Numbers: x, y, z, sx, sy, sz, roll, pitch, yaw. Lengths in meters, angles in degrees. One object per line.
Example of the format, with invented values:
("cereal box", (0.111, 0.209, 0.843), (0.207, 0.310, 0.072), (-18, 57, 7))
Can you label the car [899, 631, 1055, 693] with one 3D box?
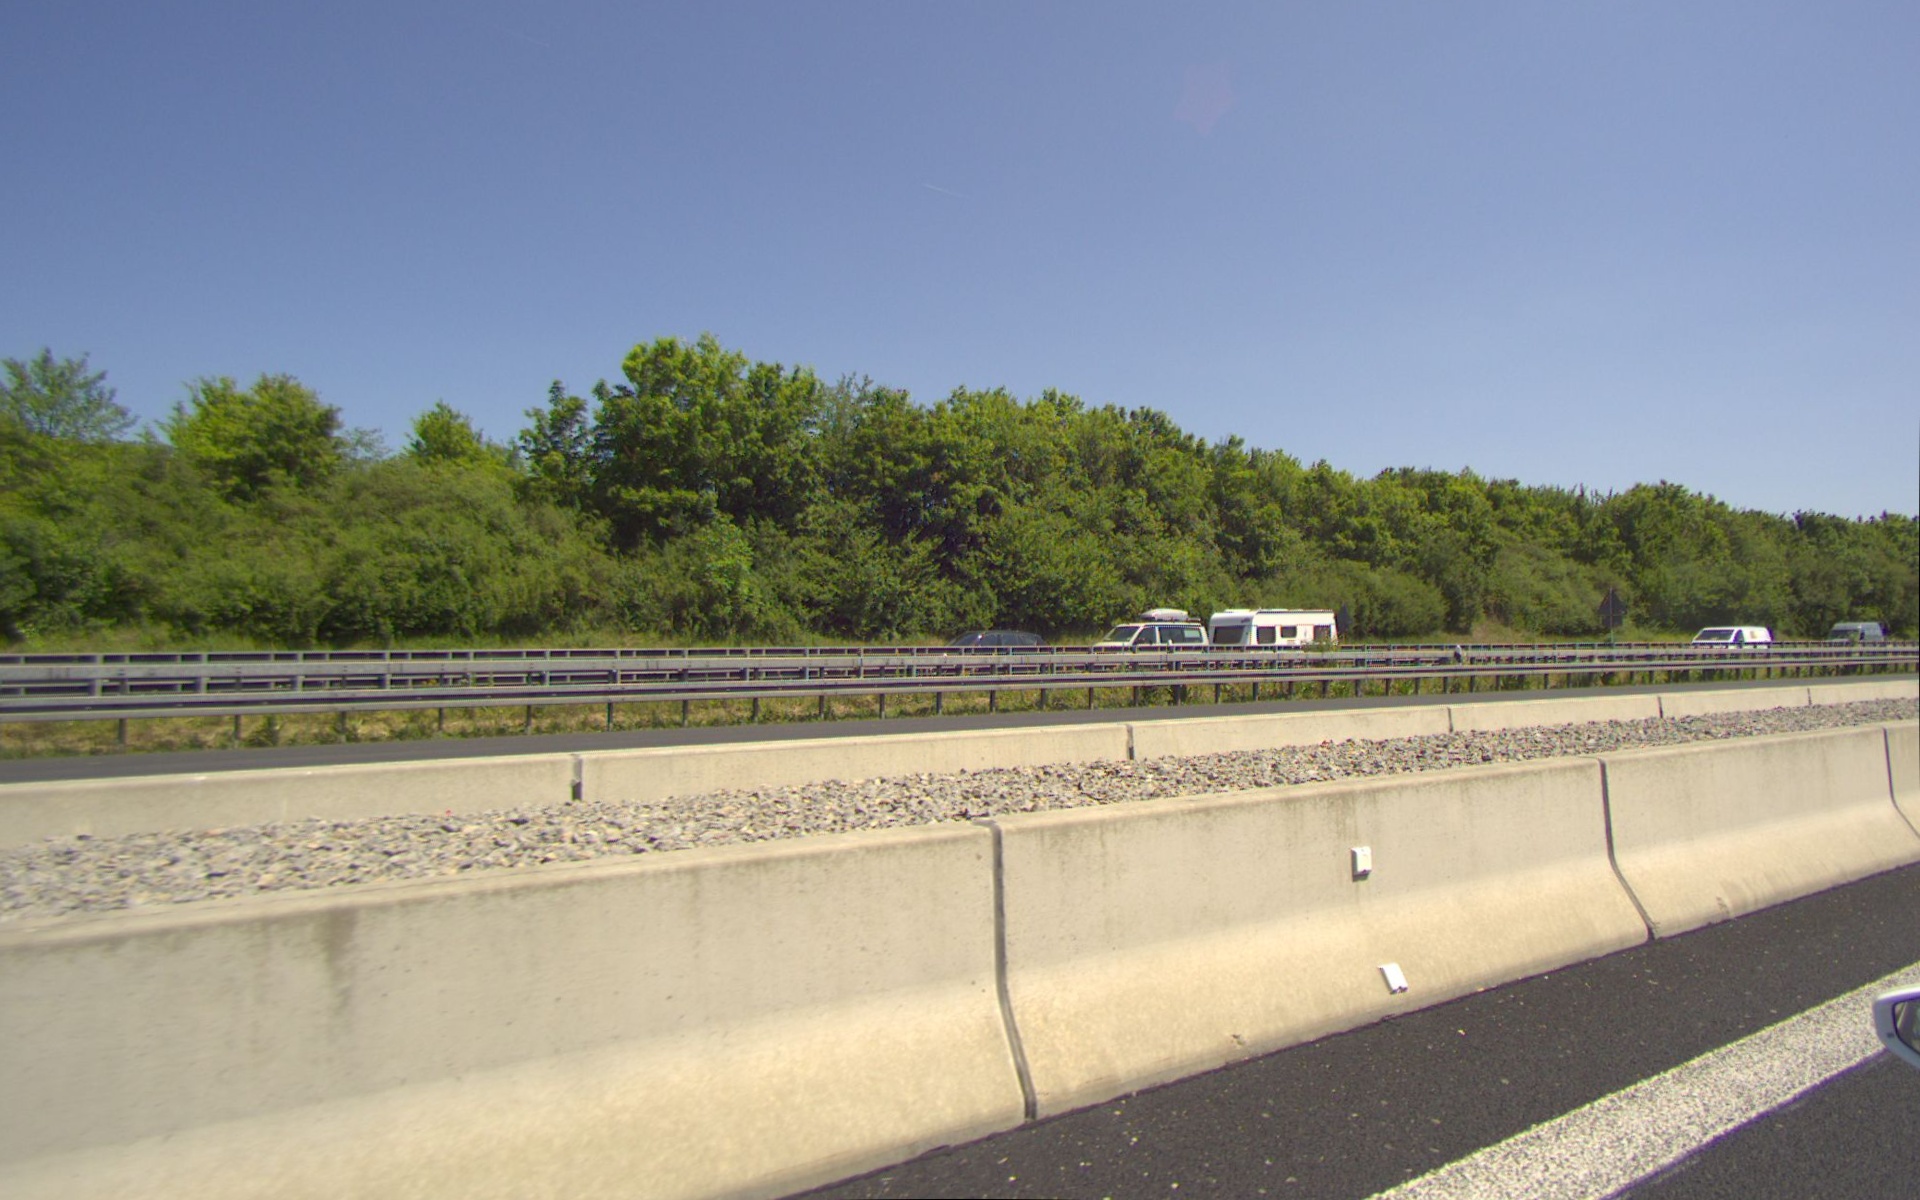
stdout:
("car", (0.492, 1.691, 27.902), (3.953, 1.530, 1.785), (2, 0, -30))

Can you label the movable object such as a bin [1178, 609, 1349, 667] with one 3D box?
("movable object such as a bin", (11.775, 1.473, 38.821), (6.704, 2.040, 2.494), (2, 0, -32))

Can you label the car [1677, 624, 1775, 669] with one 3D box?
("car", (37.976, 2.292, 49.769), (5.286, 2.040, 1.984), (2, 0, -30))

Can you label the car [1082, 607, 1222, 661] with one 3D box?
("car", (6.839, 1.228, 35.748), (4.758, 1.830, 1.985), (1, -3, -29))
